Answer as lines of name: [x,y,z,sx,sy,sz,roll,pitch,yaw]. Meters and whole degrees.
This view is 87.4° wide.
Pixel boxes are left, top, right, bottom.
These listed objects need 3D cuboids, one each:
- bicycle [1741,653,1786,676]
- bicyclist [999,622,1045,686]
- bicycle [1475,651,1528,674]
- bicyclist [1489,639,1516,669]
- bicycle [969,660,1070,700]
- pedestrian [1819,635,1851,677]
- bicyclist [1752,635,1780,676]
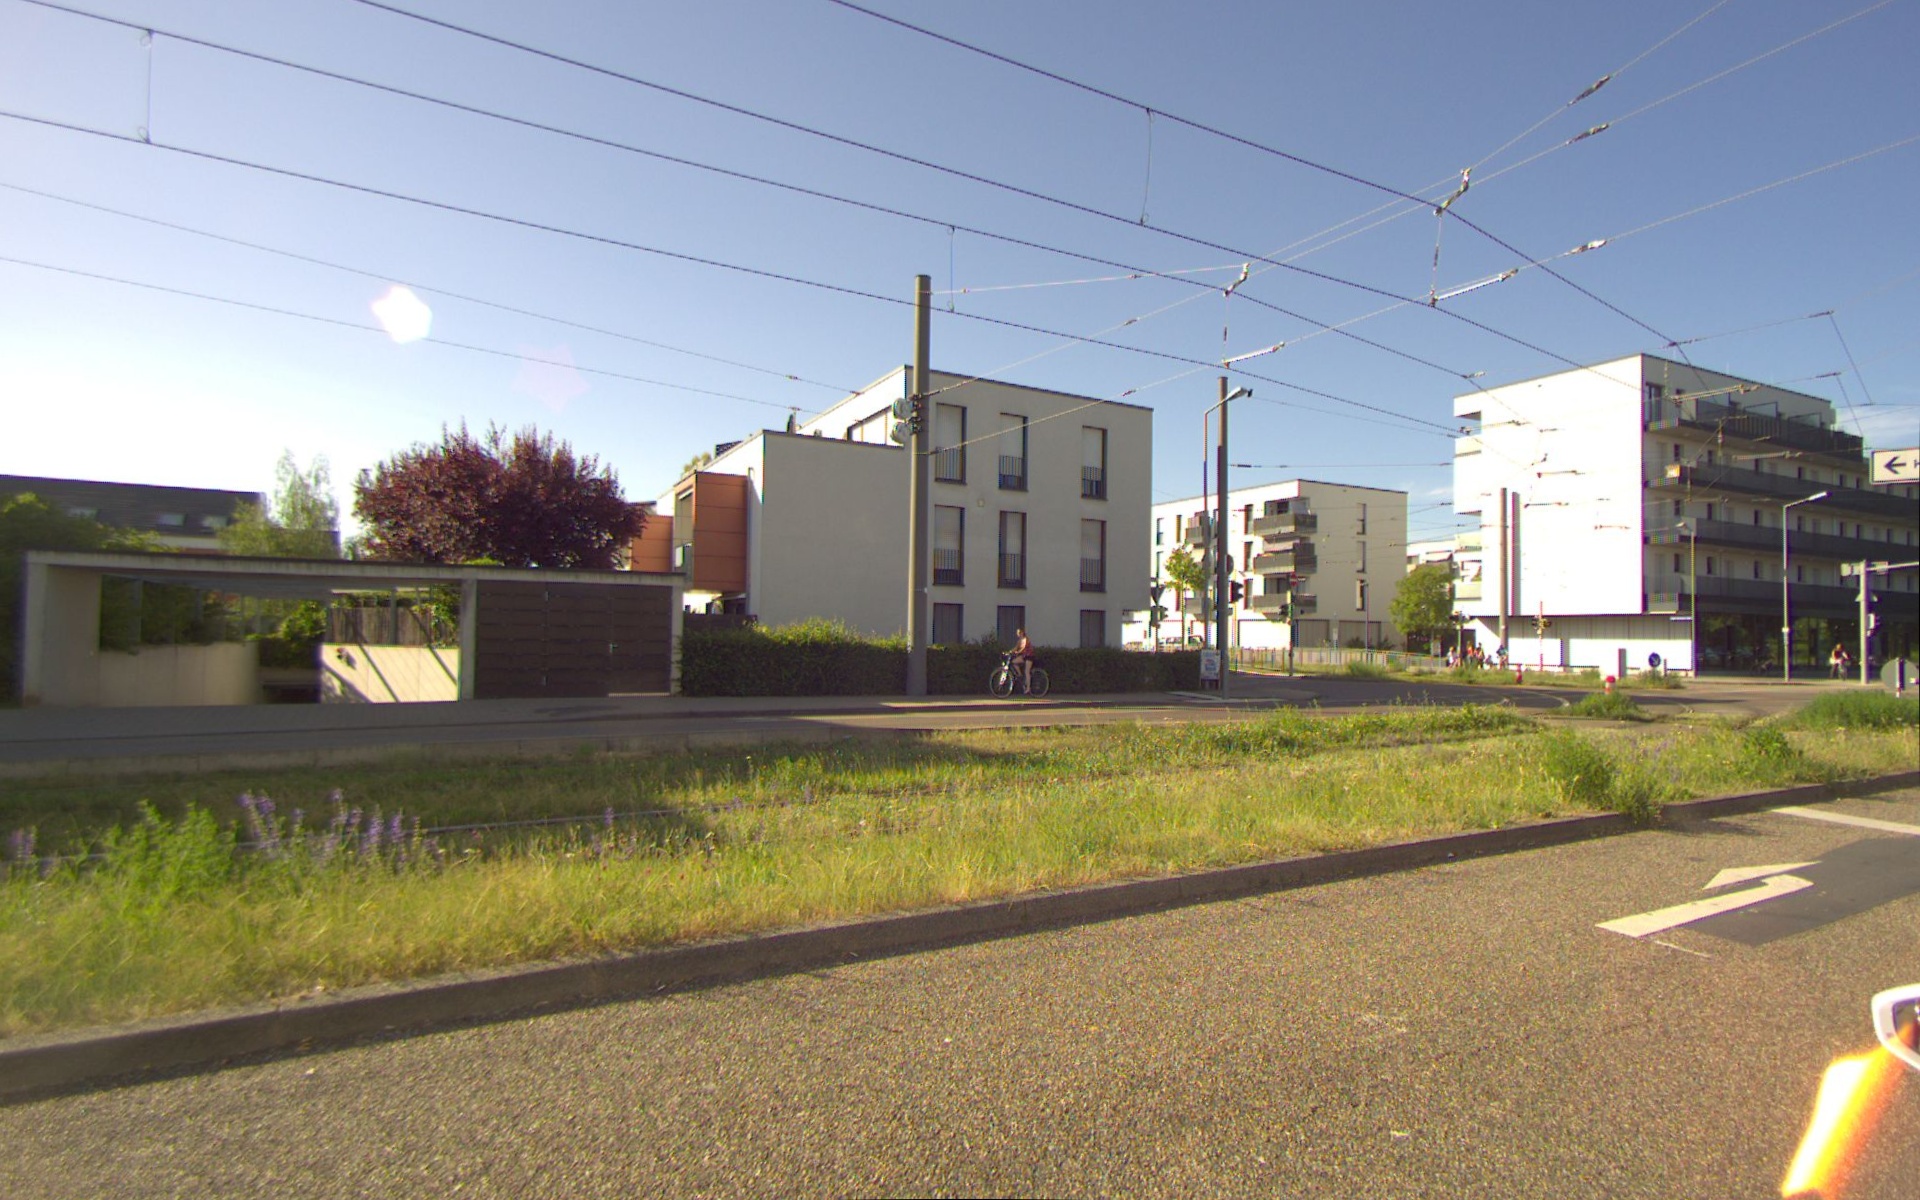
bicycle: [40.727,3.263,50.905,1.609,1.159,0.745,0,-2,11]
bicyclist: [1.504,1.296,24.397,0.739,1.510,0.883,2,-2,-36]
bicycle: [29.191,3.377,54.165,2.783,1.214,0.899,2,-2,-21]
bicyclist: [29.281,2.923,54.210,0.900,1.613,0.891,1,-2,-21]
bicycle: [1.468,1.909,24.353,2.460,0.904,0.893,2,-3,-36]
pedestrian: [42.431,2.711,48.730,0.752,2.040,0.972,2,-2,-31]
bicyclist: [40.849,2.812,50.909,0.779,2.040,0.812,0,-2,11]
